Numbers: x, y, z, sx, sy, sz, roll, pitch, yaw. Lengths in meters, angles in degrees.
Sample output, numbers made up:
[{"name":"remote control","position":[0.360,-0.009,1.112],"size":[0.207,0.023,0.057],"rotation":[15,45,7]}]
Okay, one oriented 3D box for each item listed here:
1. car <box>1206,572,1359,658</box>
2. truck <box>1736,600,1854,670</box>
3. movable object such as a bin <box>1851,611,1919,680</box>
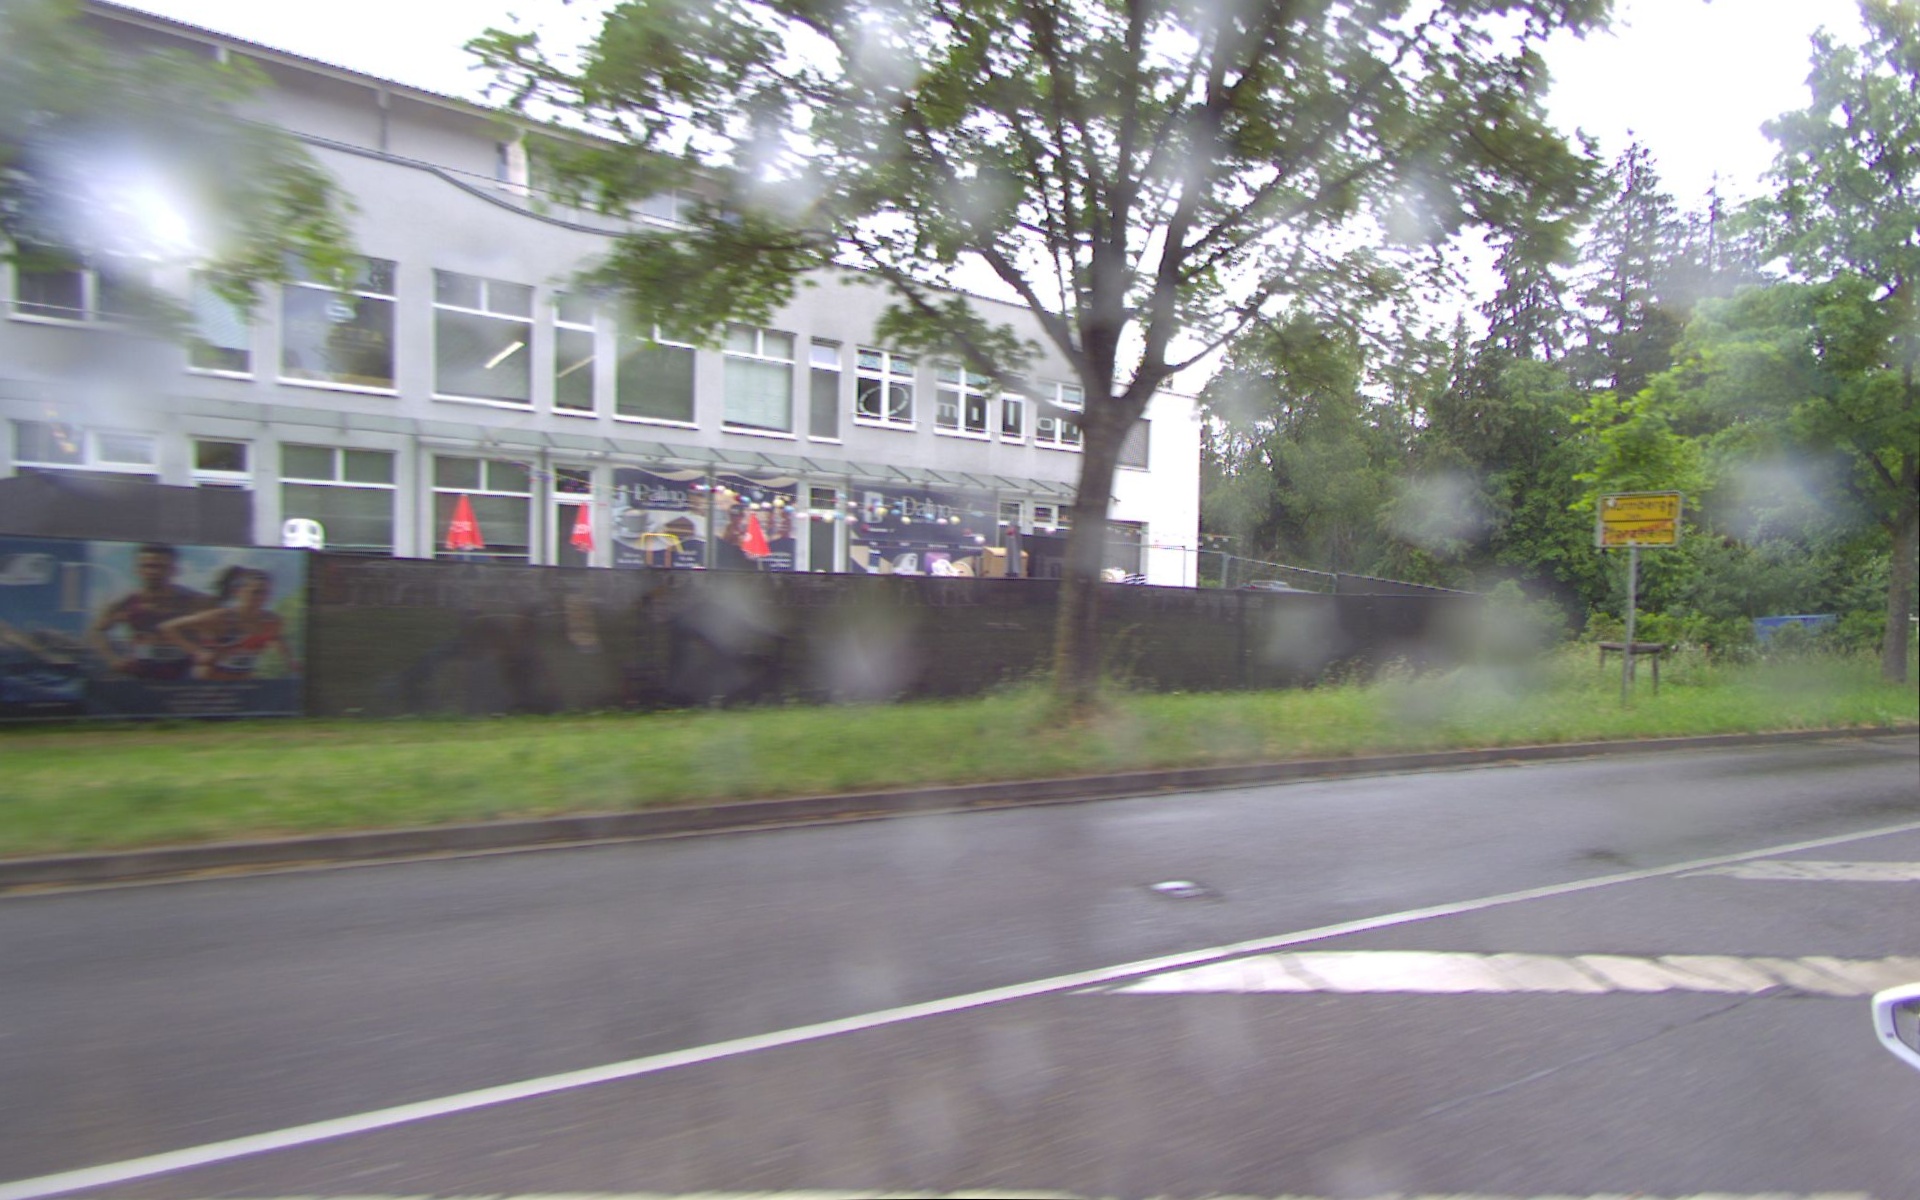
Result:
[{"name":"car","position":[10.887,0.531,33.774],"size":[5.177,1.938,1.894],"rotation":[12,-5,-32]},{"name":"truck","position":[32.593,1.323,39.173],"size":[5.165,2.491,1.982],"rotation":[1,2,-33]},{"name":"movable object such as a bin","position":[42.273,2.053,44.713],"size":[3.934,2.899,1.993],"rotation":[2,1,-15]}]
